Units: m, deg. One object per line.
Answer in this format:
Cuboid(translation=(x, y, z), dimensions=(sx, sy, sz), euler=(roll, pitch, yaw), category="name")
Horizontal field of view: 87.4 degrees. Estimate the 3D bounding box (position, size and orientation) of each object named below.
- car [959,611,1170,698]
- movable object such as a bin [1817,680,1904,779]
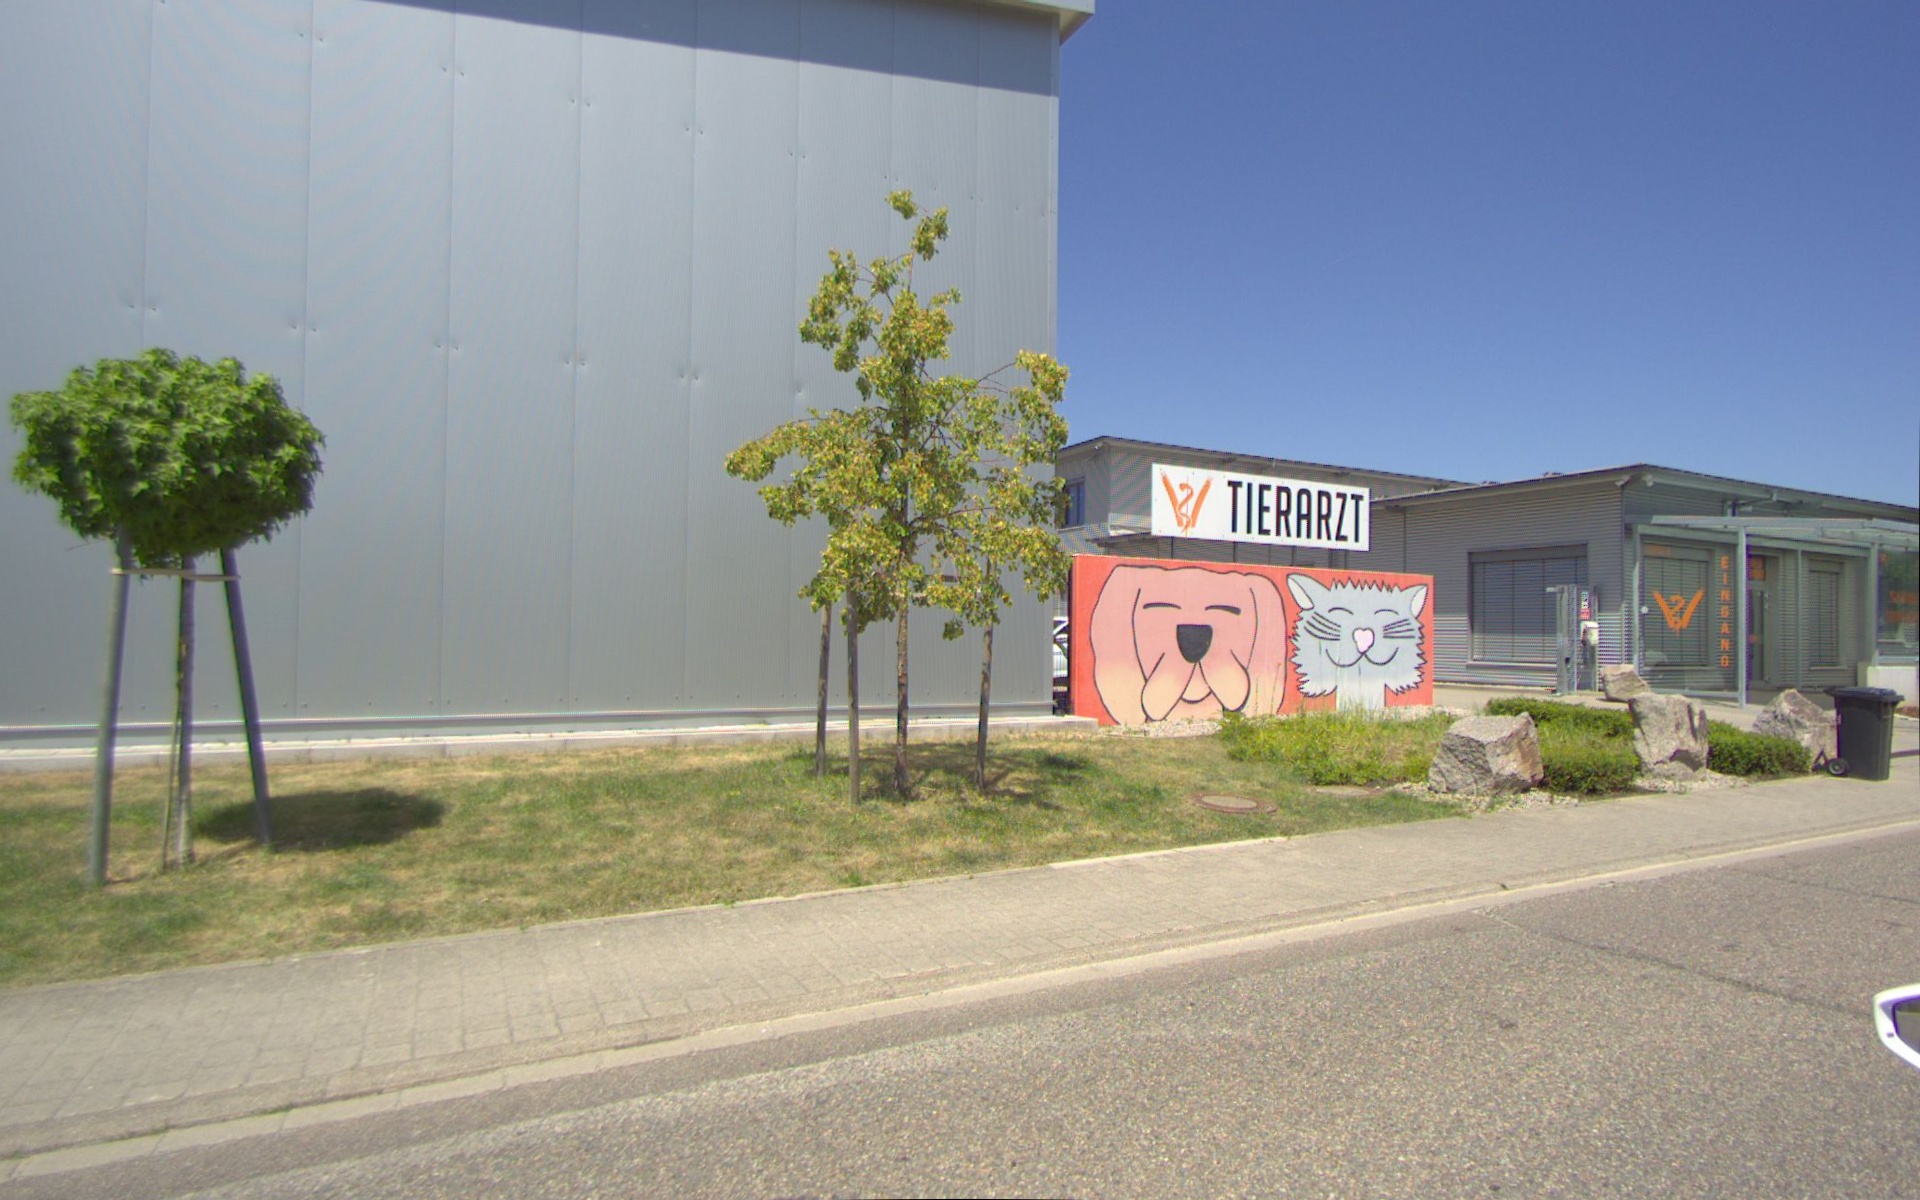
Cuboid(translation=(2.148, 1.048, 20.332), dimensions=(3.957, 1.605, 1.895), euler=(1, -1, -33), category="car")
Cuboid(translation=(9.464, 1.340, 10.560), dimensions=(0.506, 0.962, 0.567), euler=(1, -1, -33), category="movable object such as a bin")
